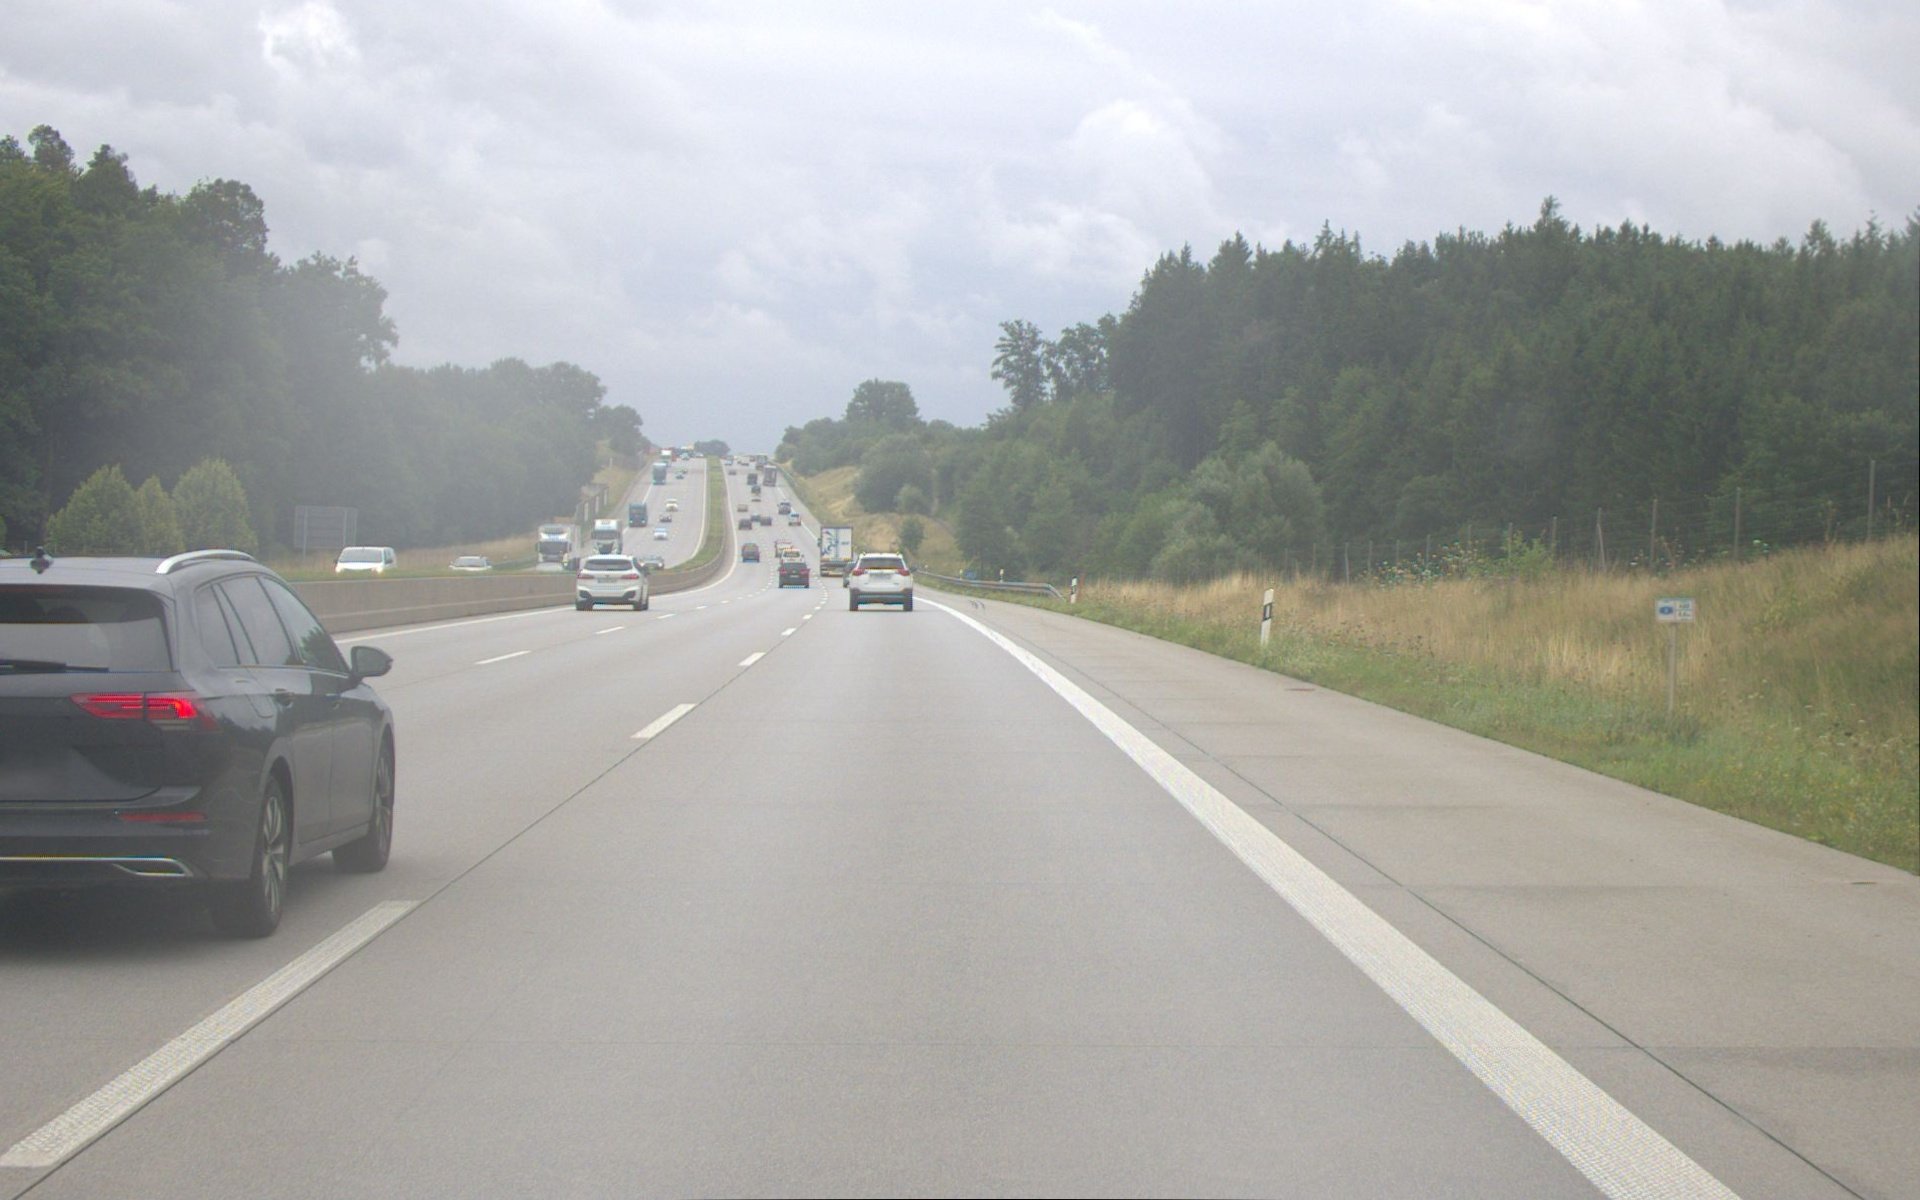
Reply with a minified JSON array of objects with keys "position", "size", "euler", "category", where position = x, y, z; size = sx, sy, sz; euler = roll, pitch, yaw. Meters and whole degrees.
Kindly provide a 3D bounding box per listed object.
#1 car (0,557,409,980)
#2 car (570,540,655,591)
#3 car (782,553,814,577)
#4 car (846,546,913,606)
[{"position":[-3.479,0.552,14.037],"size":[1.752,1.393,4.484],"euler":[1,1,0],"category":"car"},{"position":[-9.607,-0.978,95.271],"size":[1.947,1.351,4.260],"euler":[1,1,0],"category":"car"},{"position":[-10.040,-2.183,213.038],"size":[1.935,1.370,4.595],"euler":[1,1,-3],"category":"car"},{"position":[-2.287,-0.712,98.294],"size":[1.825,1.650,3.985],"euler":[1,1,0],"category":"car"}]
